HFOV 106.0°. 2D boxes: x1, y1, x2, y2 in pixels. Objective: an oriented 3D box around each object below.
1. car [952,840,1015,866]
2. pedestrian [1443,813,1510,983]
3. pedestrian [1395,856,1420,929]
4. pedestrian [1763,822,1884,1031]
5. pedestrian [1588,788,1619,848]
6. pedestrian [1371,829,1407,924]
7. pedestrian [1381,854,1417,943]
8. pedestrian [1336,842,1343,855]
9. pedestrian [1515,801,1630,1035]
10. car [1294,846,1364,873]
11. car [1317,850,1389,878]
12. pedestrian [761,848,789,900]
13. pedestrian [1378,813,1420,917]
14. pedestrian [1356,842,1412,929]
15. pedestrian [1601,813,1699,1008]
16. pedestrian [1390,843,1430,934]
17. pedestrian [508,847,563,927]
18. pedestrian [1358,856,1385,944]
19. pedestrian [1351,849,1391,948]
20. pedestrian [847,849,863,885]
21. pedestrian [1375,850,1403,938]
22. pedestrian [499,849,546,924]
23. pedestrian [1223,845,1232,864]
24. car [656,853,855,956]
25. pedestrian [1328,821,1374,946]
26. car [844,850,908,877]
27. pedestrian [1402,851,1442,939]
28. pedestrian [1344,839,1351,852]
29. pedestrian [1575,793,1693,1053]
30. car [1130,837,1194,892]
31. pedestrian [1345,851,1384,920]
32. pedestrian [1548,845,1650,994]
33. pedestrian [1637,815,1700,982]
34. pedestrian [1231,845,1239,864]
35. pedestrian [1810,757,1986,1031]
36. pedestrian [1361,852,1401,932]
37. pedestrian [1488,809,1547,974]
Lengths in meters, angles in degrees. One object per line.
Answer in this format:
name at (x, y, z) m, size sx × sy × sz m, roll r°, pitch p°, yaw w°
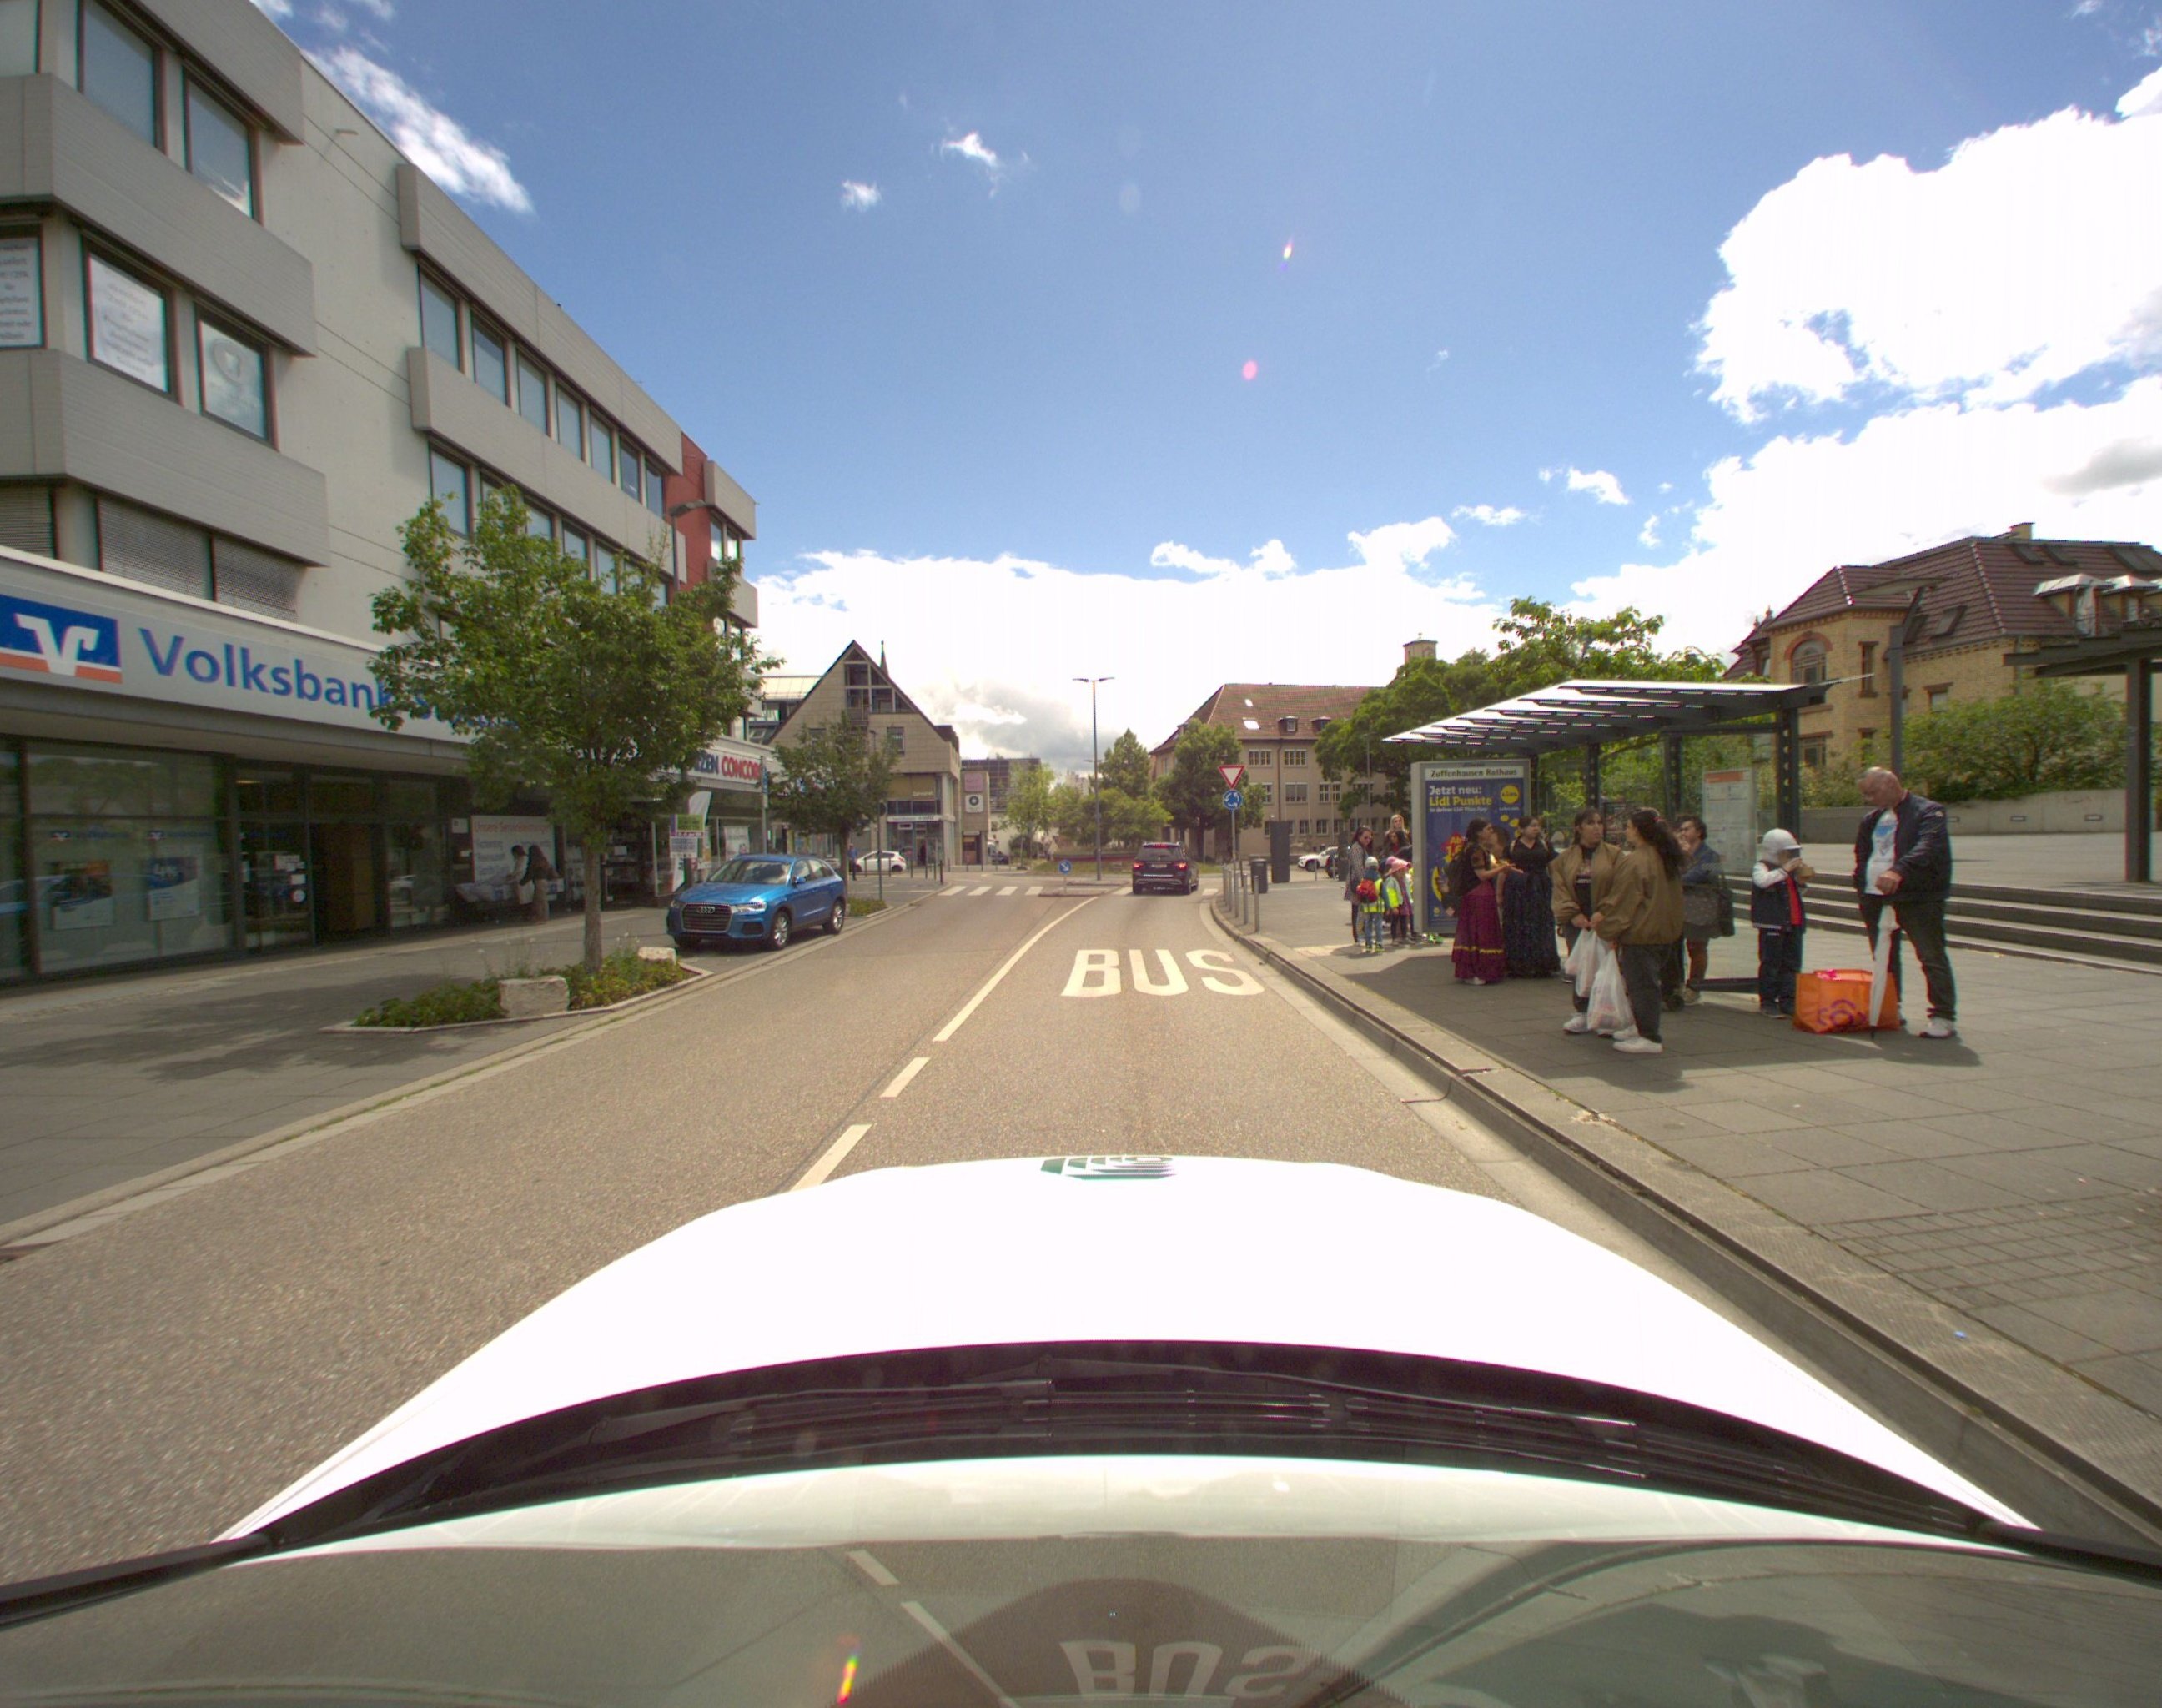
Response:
car at (-10.380, -0.083, 86.379) m, size 6.306 × 2.560 × 2.191 m, roll 0°, pitch -3°, yaw -20°
pedestrian at (3.812, 0.408, 7.841) m, size 0.491 × 1.566 × 0.504 m, roll -3°, pitch 0°, yaw 29°
pedestrian at (4.908, 0.579, 12.239) m, size 0.248 × 1.069 × 0.253 m, roll -4°, pitch 0°, yaw 12°
pedestrian at (4.862, 0.460, 5.347) m, size 0.388 × 1.306 × 0.355 m, roll -4°, pitch 0°, yaw 3°
pedestrian at (13.314, -0.907, 20.757) m, size 0.499 × 1.508 × 0.456 m, roll -2°, pitch 1°, yaw 11°
pedestrian at (5.068, 0.360, 13.412) m, size 0.387 × 1.517 × 0.390 m, roll -3°, pitch 0°, yaw 8°
pedestrian at (4.214, 0.583, 10.797) m, size 0.296 × 1.152 × 0.293 m, roll -4°, pitch 0°, yaw 0°
pedestrian at (24.171, -0.484, 76.113) m, size 0.482 × 1.182 × 0.584 m, roll 0°, pitch 0°, yaw 37°
pedestrian at (3.477, 0.424, 5.760) m, size 0.489 × 1.549 × 0.537 m, roll -2°, pitch 0°, yaw -45°
car at (16.094, 0.348, 53.009) m, size 4.222 × 1.576 × 1.857 m, roll -3°, pitch 0°, yaw 16°
car at (14.370, 0.489, 43.020) m, size 3.852 × 1.383 × 1.596 m, roll -1°, pitch 0°, yaw -35°
pedestrian at (-9.390, 0.599, 24.980) m, size 0.584 × 1.588 × 0.639 m, roll 0°, pitch 0°, yaw 1°
pedestrian at (5.727, 0.191, 14.678) m, size 0.536 × 1.823 × 0.437 m, roll -4°, pitch 0°, yaw 13°
pedestrian at (4.720, 0.493, 12.706) m, size 0.435 × 1.304 × 0.593 m, roll -3°, pitch -1°, yaw -33°
pedestrian at (4.421, 0.424, 6.341) m, size 0.377 × 1.442 × 0.415 m, roll -4°, pitch 0°, yaw -5°
pedestrian at (4.631, 0.482, 11.486) m, size 0.323 × 1.238 × 0.333 m, roll -4°, pitch 0°, yaw -7°
pedestrian at (-11.094, 0.663, 16.574) m, size 0.579 × 1.566 × 0.649 m, roll -3°, pitch 0°, yaw 24°
pedestrian at (3.896, 0.612, 10.920) m, size 0.261 × 1.160 × 0.272 m, roll -4°, pitch 0°, yaw 17°
pedestrian at (3.707, 0.561, 10.410) m, size 0.399 × 1.226 × 0.390 m, roll -3°, pitch 0°, yaw 23°
pedestrian at (-10.263, 0.578, 36.968) m, size 0.570 × 1.603 × 0.600 m, roll -1°, pitch 1°, yaw -31°
pedestrian at (4.194, 0.541, 11.091) m, size 0.250 × 1.174 × 0.252 m, roll -4°, pitch 0°, yaw 10°
pedestrian at (-11.910, 0.678, 17.382) m, size 0.508 × 1.566 × 0.587 m, roll -3°, pitch 0°, yaw 2°
pedestrian at (12.274, 0.032, 68.209) m, size 0.631 × 1.523 × 0.580 m, roll 1°, pitch 5°, yaw 24°
car at (-5.792, 0.797, 15.145) m, size 1.687 × 1.599 × 4.336 m, roll 1°, pitch 0°, yaw 4°
pedestrian at (3.608, 0.392, 10.919) m, size 0.385 × 1.619 × 0.469 m, roll -4°, pitch 0°, yaw 3°
car at (-13.093, 0.619, 52.040) m, size 3.879 × 1.531 × 1.650 m, roll -3°, pitch 0°, yaw -16°
pedestrian at (4.601, 0.553, 10.994) m, size 0.320 × 1.152 × 0.318 m, roll -3°, pitch 0°, yaw -38°
pedestrian at (25.013, -0.823, 76.523) m, size 0.482 × 1.222 × 0.584 m, roll 0°, pitch 0°, yaw 37°
pedestrian at (3.499, 0.415, 5.188) m, size 0.508 × 1.549 × 0.490 m, roll -3°, pitch 0°, yaw 27°
car at (2.736, 0.352, 28.414) m, size 2.018 × 1.727 × 4.437 m, roll -1°, pitch -1°, yaw 4°
pedestrian at (4.971, 0.558, 14.297) m, size 0.470 × 1.172 × 0.393 m, roll -4°, pitch 0°, yaw 39°
pedestrian at (4.481, 0.543, 7.074) m, size 0.376 × 1.211 × 0.632 m, roll -4°, pitch 0°, yaw -5°
pedestrian at (5.297, 0.391, 7.347) m, size 0.275 × 1.458 × 0.317 m, roll -3°, pitch 0°, yaw -24°
pedestrian at (12.856, 0.035, 67.881) m, size 0.567 × 1.608 × 0.440 m, roll 2°, pitch 5°, yaw 29°
pedestrian at (5.319, 0.246, 5.334) m, size 0.509 × 1.680 × 0.576 m, roll -3°, pitch 0°, yaw 1°
pedestrian at (4.512, 0.570, 12.242) m, size 0.337 × 1.167 × 0.348 m, roll -3°, pitch -2°, yaw -30°
pedestrian at (4.281, 0.357, 7.980) m, size 0.389 × 1.566 × 0.354 m, roll -3°, pitch 0°, yaw 38°
